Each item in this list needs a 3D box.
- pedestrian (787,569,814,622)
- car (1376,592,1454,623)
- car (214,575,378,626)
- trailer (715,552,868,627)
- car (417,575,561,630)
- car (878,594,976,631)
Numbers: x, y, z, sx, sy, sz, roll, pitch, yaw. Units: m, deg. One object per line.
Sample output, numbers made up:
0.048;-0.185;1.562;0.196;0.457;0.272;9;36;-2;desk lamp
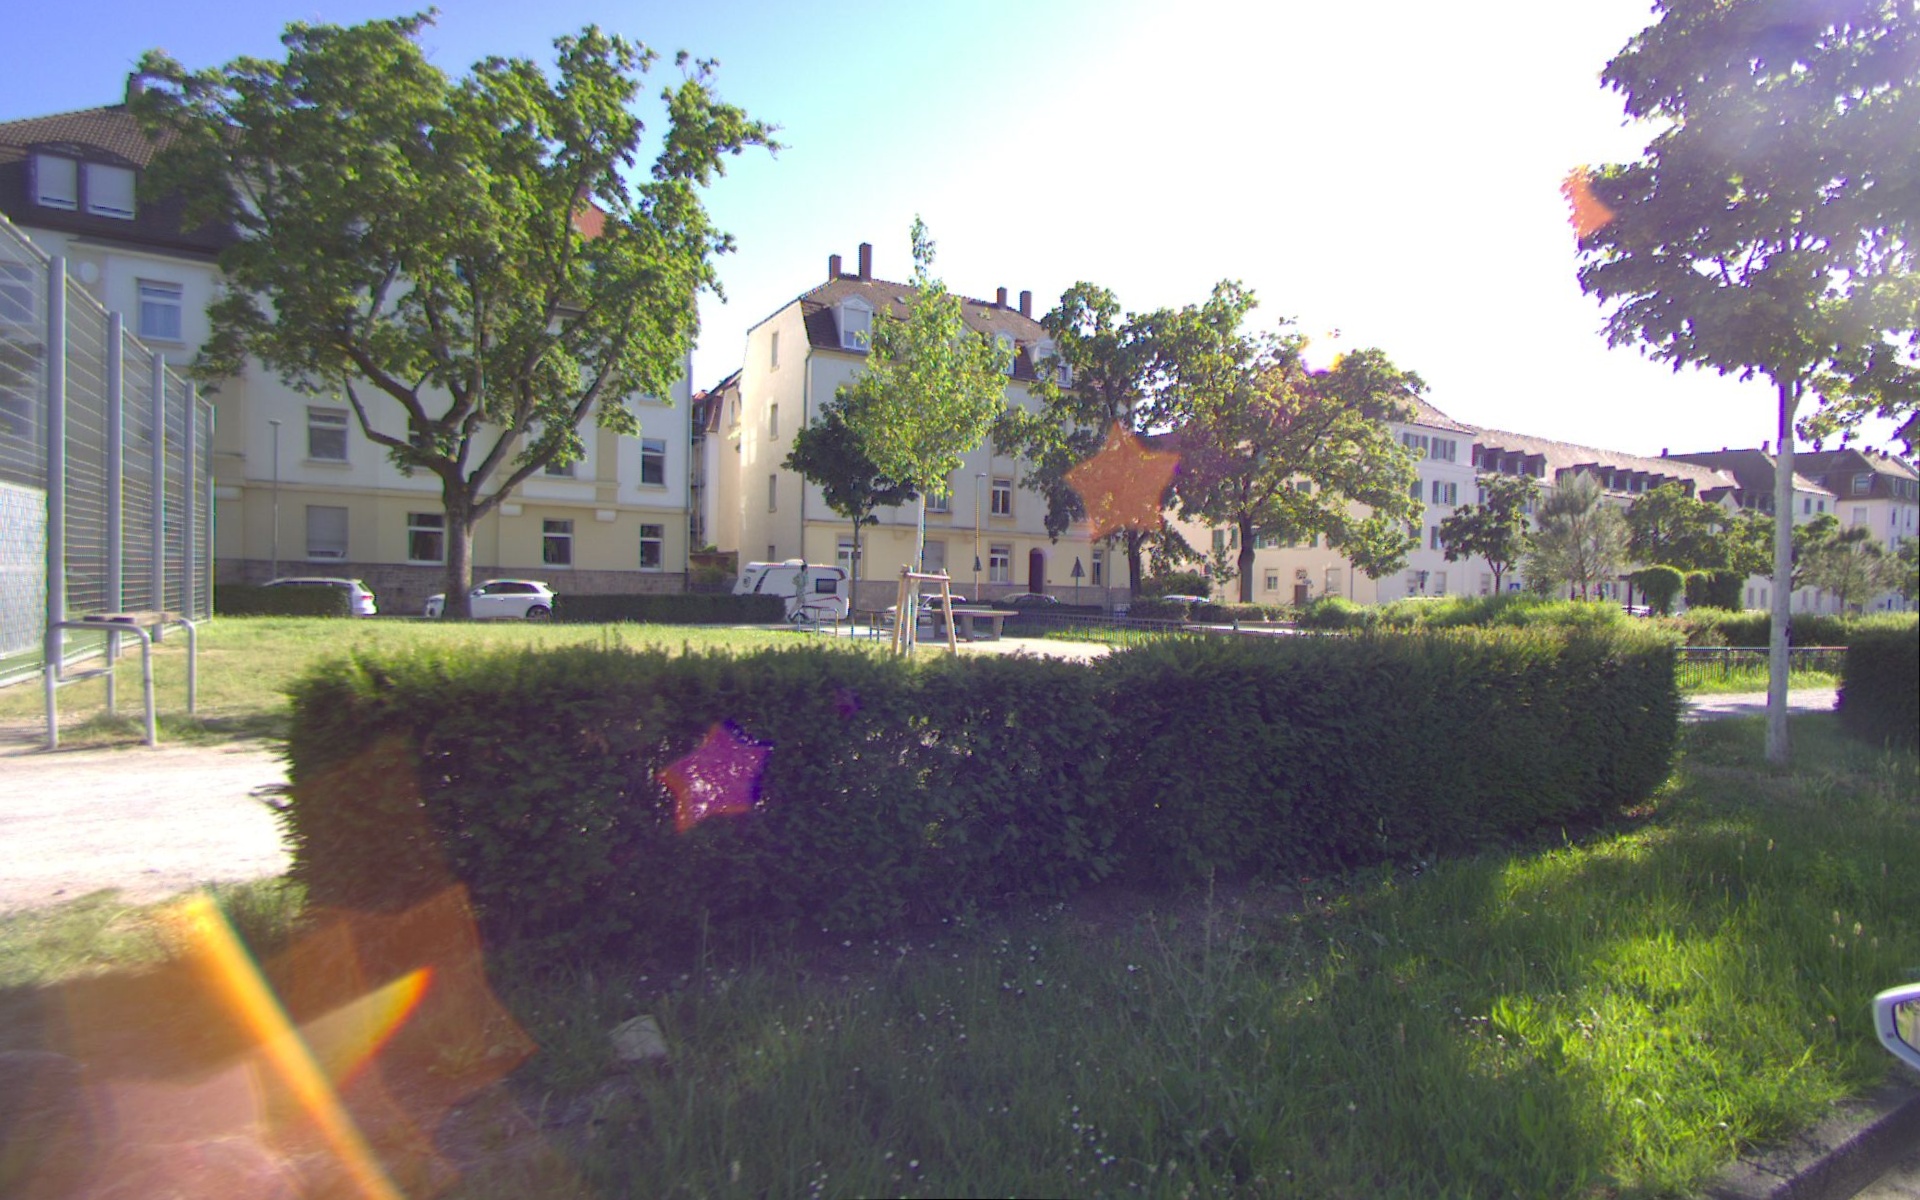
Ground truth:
-5.091;-0.146;32.138;0.642;1.683;0.645;1;0;-30;pedestrian
26.712;0.425;58.980;3.933;1.674;1.794;1;1;-15;car
-21.329;0.034;32.511;4.296;1.530;1.785;1;1;-30;car
-6.903;-0.409;41.413;5.736;2.909;2.331;1;1;-31;trailer
-16.499;0.093;35.226;4.436;1.801;1.785;1;1;-30;car
-1.452;0.564;44.739;3.953;1.530;1.785;1;1;-30;car
